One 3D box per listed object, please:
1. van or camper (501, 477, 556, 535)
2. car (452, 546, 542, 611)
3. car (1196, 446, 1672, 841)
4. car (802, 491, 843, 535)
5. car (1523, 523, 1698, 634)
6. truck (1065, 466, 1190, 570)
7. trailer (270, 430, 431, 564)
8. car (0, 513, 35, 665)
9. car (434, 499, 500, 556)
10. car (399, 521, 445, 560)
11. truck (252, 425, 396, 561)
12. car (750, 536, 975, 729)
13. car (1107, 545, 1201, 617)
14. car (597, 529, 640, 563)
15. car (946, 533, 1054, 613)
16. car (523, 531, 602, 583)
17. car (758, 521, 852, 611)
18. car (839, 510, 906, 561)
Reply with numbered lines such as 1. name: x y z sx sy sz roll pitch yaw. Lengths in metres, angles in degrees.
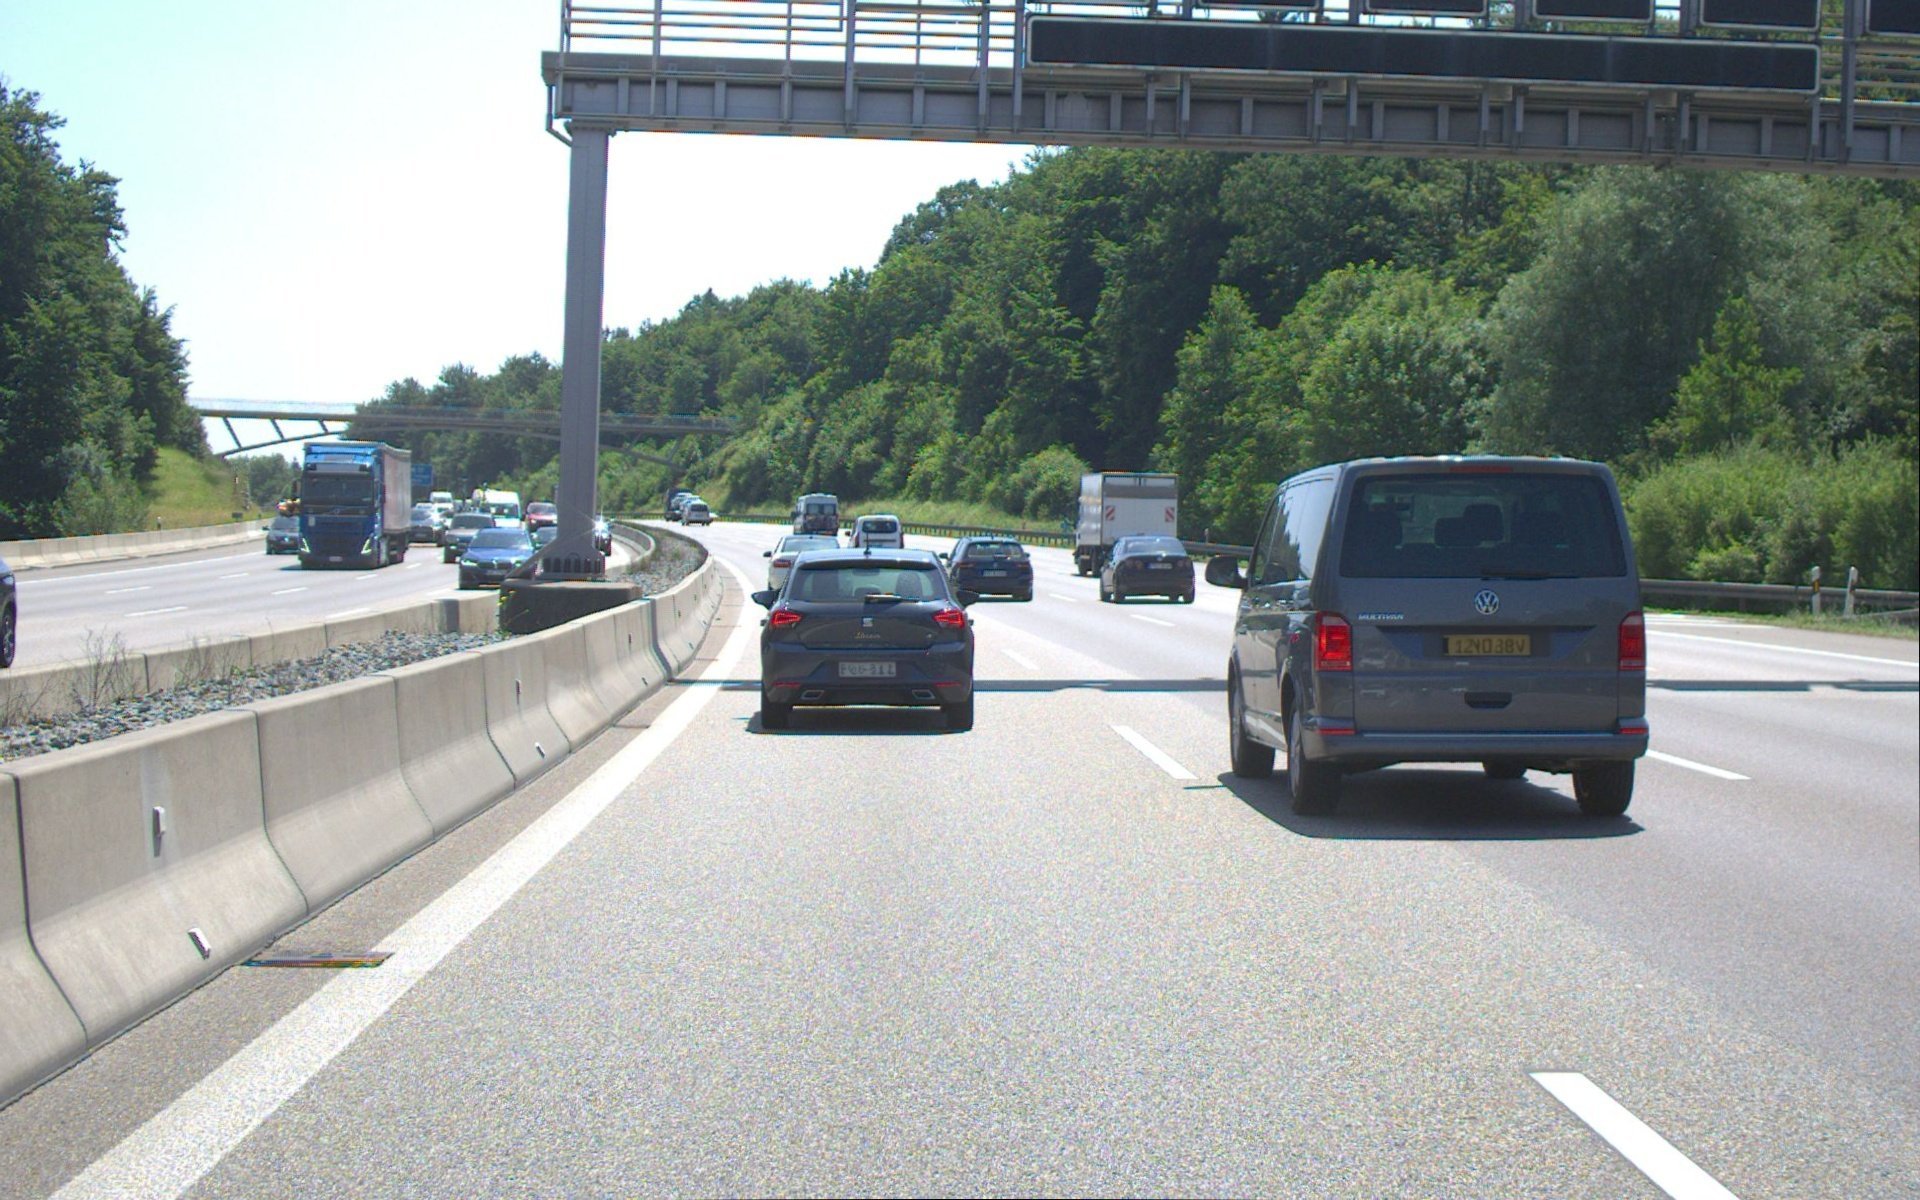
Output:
1. van or camper: -19.616 -4.247 156.463 2.099 2.557 6.401 1 1 -4
2. car: -11.435 -0.511 85.149 1.853 1.513 4.522 0 -1 -3
3. car: 2.629 0.183 20.354 1.962 2.026 5.084 0 1 -2
4. car: -7.762 -4.895 193.926 2.265 2.363 4.702 0 1 -3
5. car: 10.460 -0.372 55.549 1.993 1.722 4.000 0 1 -1
6. truck: 5.228 -2.619 108.665 2.985 3.156 7.576 1 2 -4
7. trailer: -21.095 -3.492 119.957 3.835 4.265 14.479 2 1 -4
8. car: -11.229 -0.099 36.455 1.754 1.629 4.639 0 2 -2
9. car: -17.498 -2.563 122.168 1.993 1.960 4.784 1 1 -4
10. car: -24.940 -2.739 159.186 1.993 1.756 5.070 0 0 -10
11. truck: -20.506 -3.417 111.170 3.785 4.163 5.880 2 1 -4
12. car: -0.788 0.215 28.523 1.708 1.428 4.000 1 1 -1
13. car: 4.194 -0.436 74.989 1.665 1.403 4.904 1 2 -1
14. car: -14.004 -2.221 141.073 1.640 1.345 4.001 2 1 -4
15. car: 0.865 -0.587 76.669 1.993 1.722 4.150 0 0 -5
16. car: -11.826 -1.298 102.433 1.956 1.513 5.134 0 1 -2
17. car: -3.459 -0.733 76.673 2.012 1.839 4.000 1 -2 -3
18. car: -3.145 -2.306 122.407 2.103 1.738 4.689 1 2 -5
